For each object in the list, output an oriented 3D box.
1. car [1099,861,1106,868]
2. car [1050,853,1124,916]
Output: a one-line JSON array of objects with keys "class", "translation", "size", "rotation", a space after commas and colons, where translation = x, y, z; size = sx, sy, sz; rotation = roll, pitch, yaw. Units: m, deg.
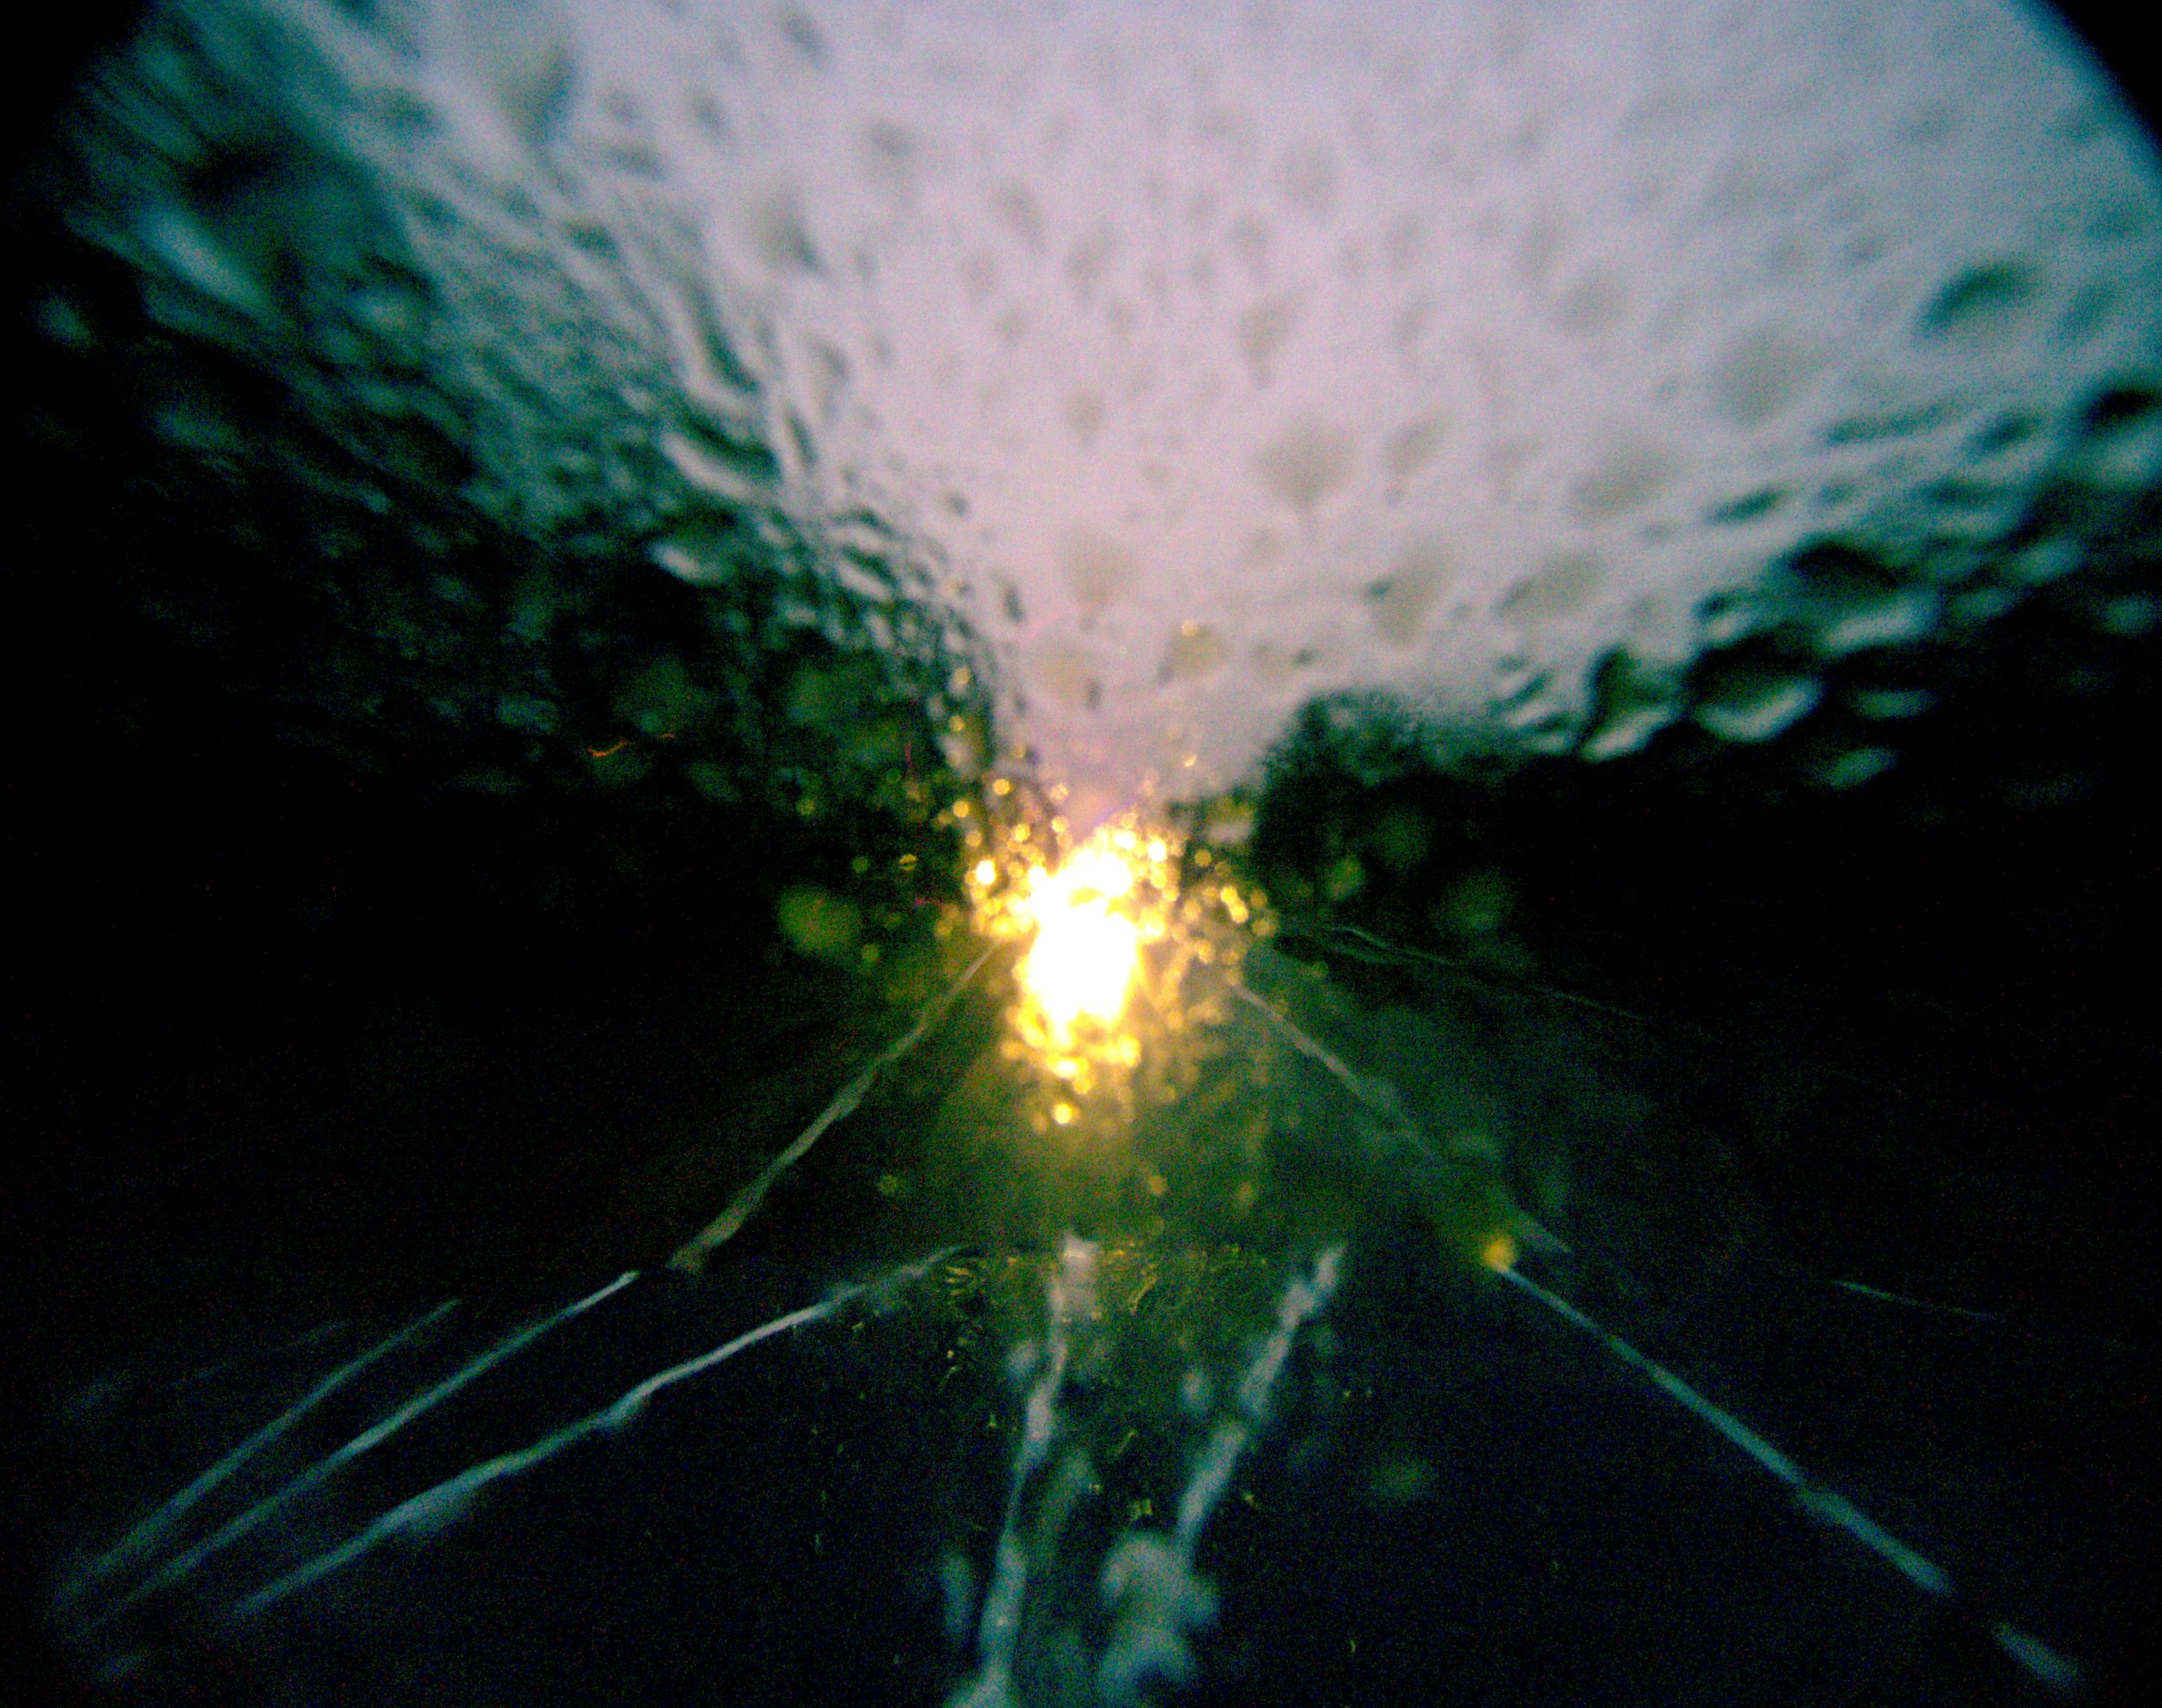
[{"class": "car", "translation": [5.014, 2.508, 177.302], "size": [1.698, 1.551, 4.130], "rotation": [-2, -1, 1]}, {"class": "car", "translation": [0.160, 0.858, 23.001], "size": [1.998, 1.672, 4.000], "rotation": [-2, 0, 0]}]
